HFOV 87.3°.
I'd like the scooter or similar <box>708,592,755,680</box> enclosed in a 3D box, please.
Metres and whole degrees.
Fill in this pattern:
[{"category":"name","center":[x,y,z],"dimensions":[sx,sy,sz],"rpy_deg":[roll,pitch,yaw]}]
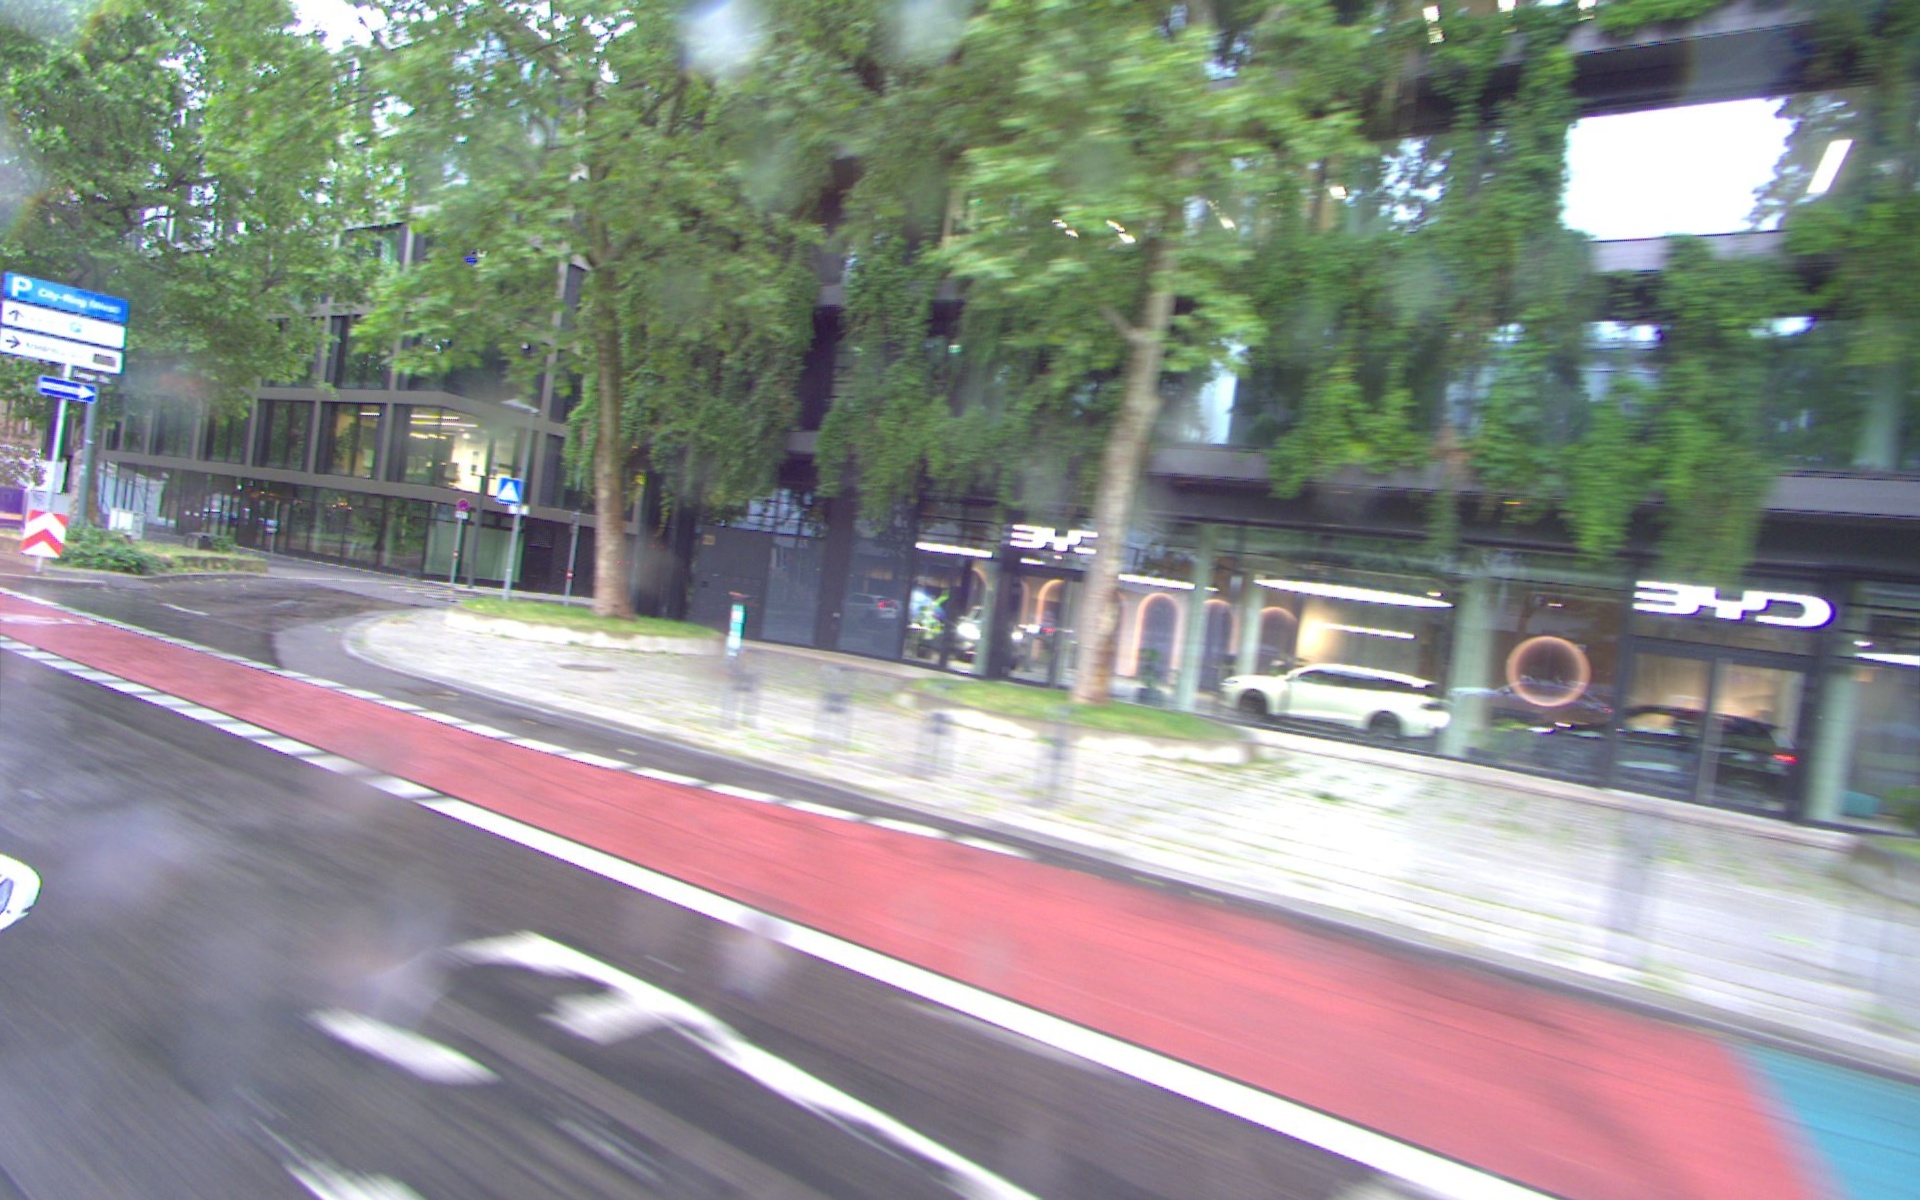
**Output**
[{"category":"scooter or similar","center":[-3.503,0.531,15.364],"dimensions":[0.377,1.243,1.073],"rpy_deg":[7,0,-22]}]
